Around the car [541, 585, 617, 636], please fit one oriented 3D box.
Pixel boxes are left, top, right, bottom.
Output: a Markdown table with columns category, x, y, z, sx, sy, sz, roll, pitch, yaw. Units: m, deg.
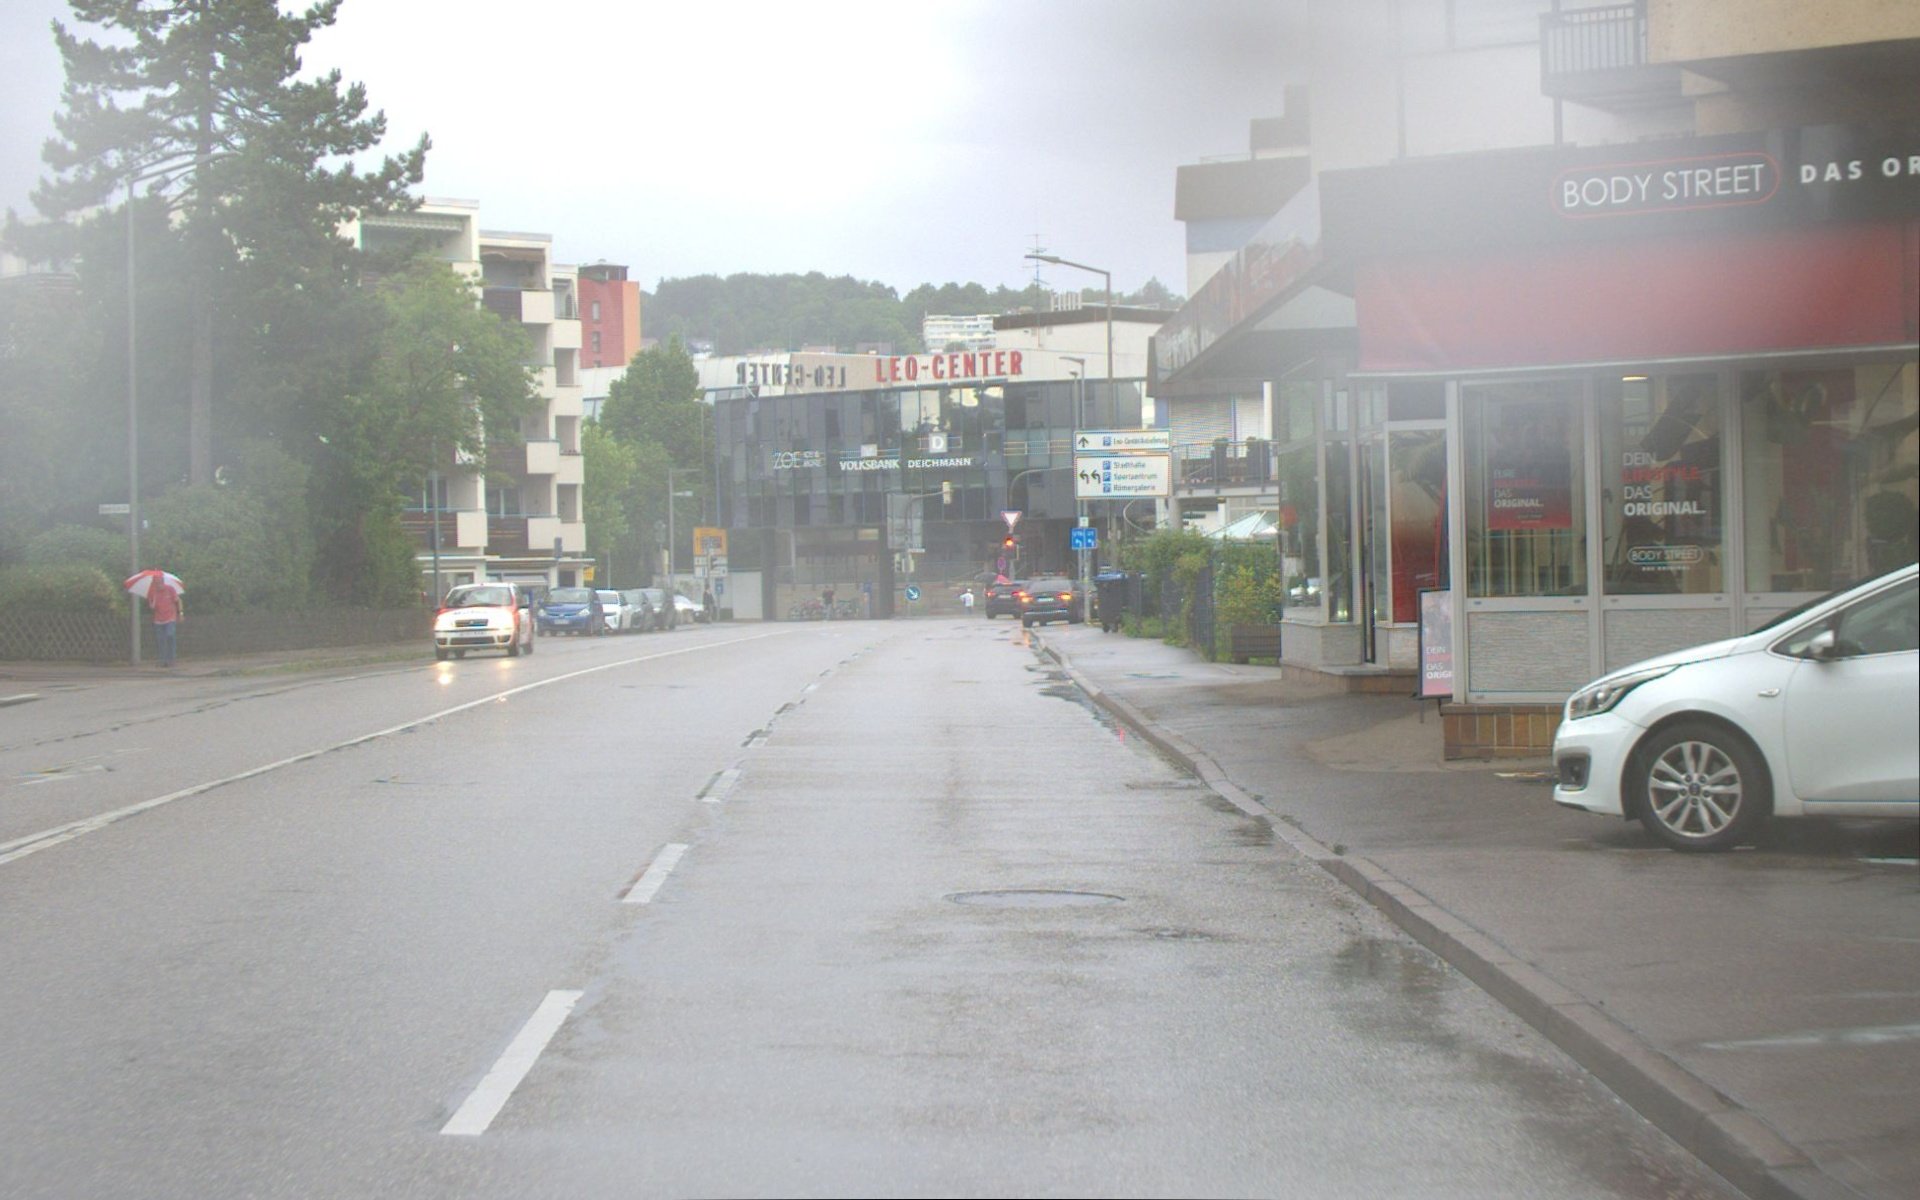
| category | x | y | z | sx | sy | sz | roll | pitch | yaw |
| --- | --- | --- | --- | --- | --- | --- | --- | --- | --- |
| car | -11.761 | 0.312 | 106.341 | 1.652 | 1.516 | 4.324 | -1 | 0 | 3 |

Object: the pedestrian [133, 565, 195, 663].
| category | x | y | z | sx | sy | sz | roll | pitch | yaw |
| --- | --- | --- | --- | --- | --- | --- | --- | --- | --- |
| pedestrian | -13.179 | 0.236 | 56.957 | 0.869 | 1.601 | 1.103 | -1 | 0 | -7 |

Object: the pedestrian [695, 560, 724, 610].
| category | x | y | z | sx | sy | sz | roll | pitch | yaw |
| --- | --- | --- | --- | --- | --- | --- | --- | --- | --- |
| pedestrian | -10.214 | -0.621 | 140.300 | 0.749 | 2.007 | 0.920 | 3 | 0 | 23 |

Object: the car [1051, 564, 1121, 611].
| category | x | y | z | sx | sy | sz | roll | pitch | yaw |
| --- | --- | --- | --- | --- | --- | --- | --- | --- | --- |
| car | 4.309 | -0.438 | 117.078 | 1.699 | 1.481 | 3.998 | -4 | 0 | 11 |

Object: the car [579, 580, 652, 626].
| category | x | y | z | sx | sy | sz | roll | pitch | yaw |
| --- | --- | --- | --- | --- | --- | --- | --- | --- | --- |
| car | -11.254 | 0.076 | 112.473 | 1.693 | 1.459 | 4.683 | -1 | 0 | 2 |

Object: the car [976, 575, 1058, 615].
| category | x | y | z | sx | sy | sz | roll | pitch | yaw |
| --- | --- | --- | --- | --- | --- | --- | --- | --- | --- |
| car | 2.175 | -0.195 | 129.977 | 1.806 | 1.414 | 3.996 | -1 | 0 | 21 |

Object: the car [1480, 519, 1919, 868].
| category | x | y | z | sx | sy | sz | roll | pitch | yaw |
| --- | --- | --- | --- | --- | --- | --- | --- | --- | --- |
| car | 4.750 | 0.392 | 15.817 | 4.265 | 1.489 | 1.870 | 1 | 3 | 32 |

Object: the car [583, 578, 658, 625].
| category | x | y | z | sx | sy | sz | roll | pitch | yaw |
| --- | --- | --- | --- | --- | --- | --- | --- | --- | --- |
| car | -11.586 | 0.046 | 117.633 | 1.934 | 1.536 | 4.520 | -1 | 0 | 2 |

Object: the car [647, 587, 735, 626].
| category | x | y | z | sx | sy | sz | roll | pitch | yaw |
| --- | --- | --- | --- | --- | --- | --- | --- | --- | --- |
| car | -12.430 | 0.299 | 158.546 | 1.994 | 1.507 | 4.433 | 2 | 2 | -35 |

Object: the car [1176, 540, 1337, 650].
| category | x | y | z | sx | sy | sz | roll | pitch | yaw |
| --- | --- | --- | --- | --- | --- | --- | --- | --- | --- |
| car | 5.068 | -0.110 | 59.310 | 1.993 | 1.779 | 4.691 | -1 | 1 | -4 |

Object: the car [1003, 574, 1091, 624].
| category | x | y | z | sx | sy | sz | roll | pitch | yaw |
| --- | --- | --- | --- | --- | --- | --- | --- | --- | --- |
| car | 2.822 | -0.005 | 110.331 | 1.994 | 1.528 | 4.644 | 0 | -1 | 12 |

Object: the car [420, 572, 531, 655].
| category | x | y | z | sx | sy | sz | roll | pitch | yaw |
| --- | --- | --- | --- | --- | --- | --- | --- | --- | --- |
| car | -9.553 | 0.242 | 68.010 | 1.697 | 1.404 | 4.001 | -4 | 2 | -2 |
